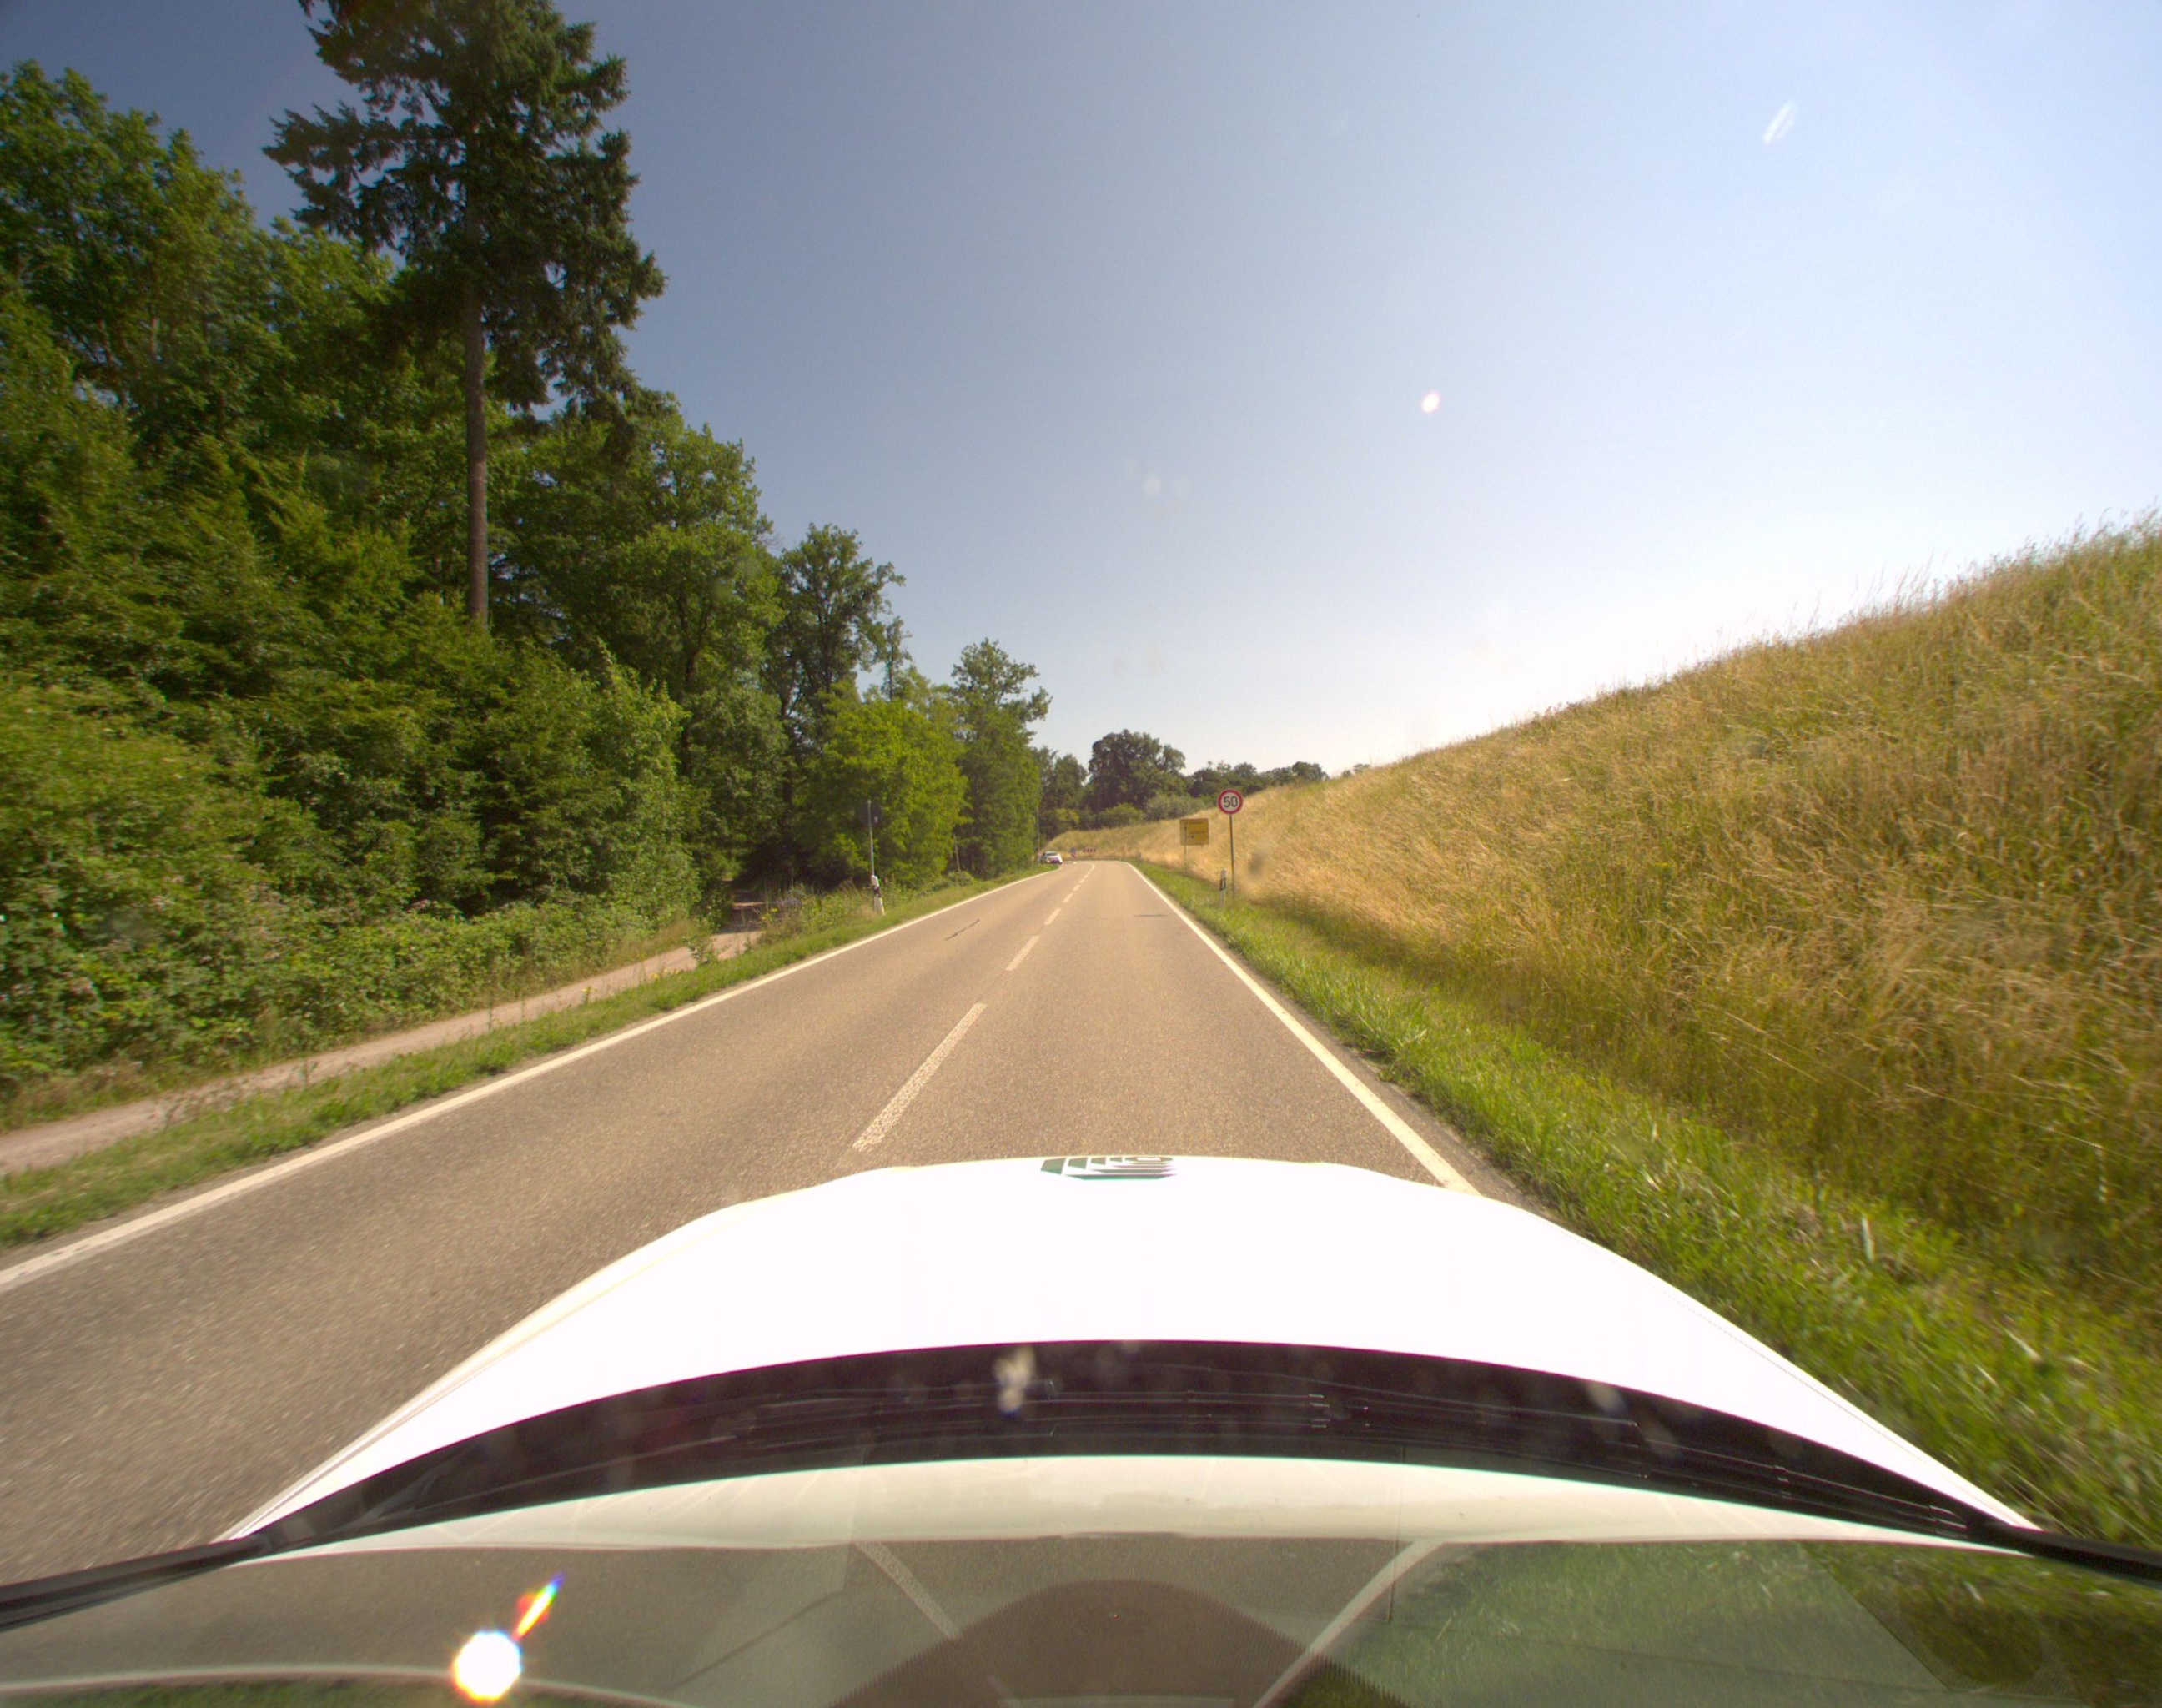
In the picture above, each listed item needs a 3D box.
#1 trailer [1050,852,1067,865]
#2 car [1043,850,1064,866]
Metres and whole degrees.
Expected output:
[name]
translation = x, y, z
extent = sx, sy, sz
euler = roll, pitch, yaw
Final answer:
[trailer]
translation = -2.740, 0.539, 99.051
extent = 1.552, 1.441, 3.274
euler = -5, 0, 5
[car]
translation = -3.175, 0.470, 95.402
extent = 1.801, 1.676, 4.006
euler = -5, 0, 5
